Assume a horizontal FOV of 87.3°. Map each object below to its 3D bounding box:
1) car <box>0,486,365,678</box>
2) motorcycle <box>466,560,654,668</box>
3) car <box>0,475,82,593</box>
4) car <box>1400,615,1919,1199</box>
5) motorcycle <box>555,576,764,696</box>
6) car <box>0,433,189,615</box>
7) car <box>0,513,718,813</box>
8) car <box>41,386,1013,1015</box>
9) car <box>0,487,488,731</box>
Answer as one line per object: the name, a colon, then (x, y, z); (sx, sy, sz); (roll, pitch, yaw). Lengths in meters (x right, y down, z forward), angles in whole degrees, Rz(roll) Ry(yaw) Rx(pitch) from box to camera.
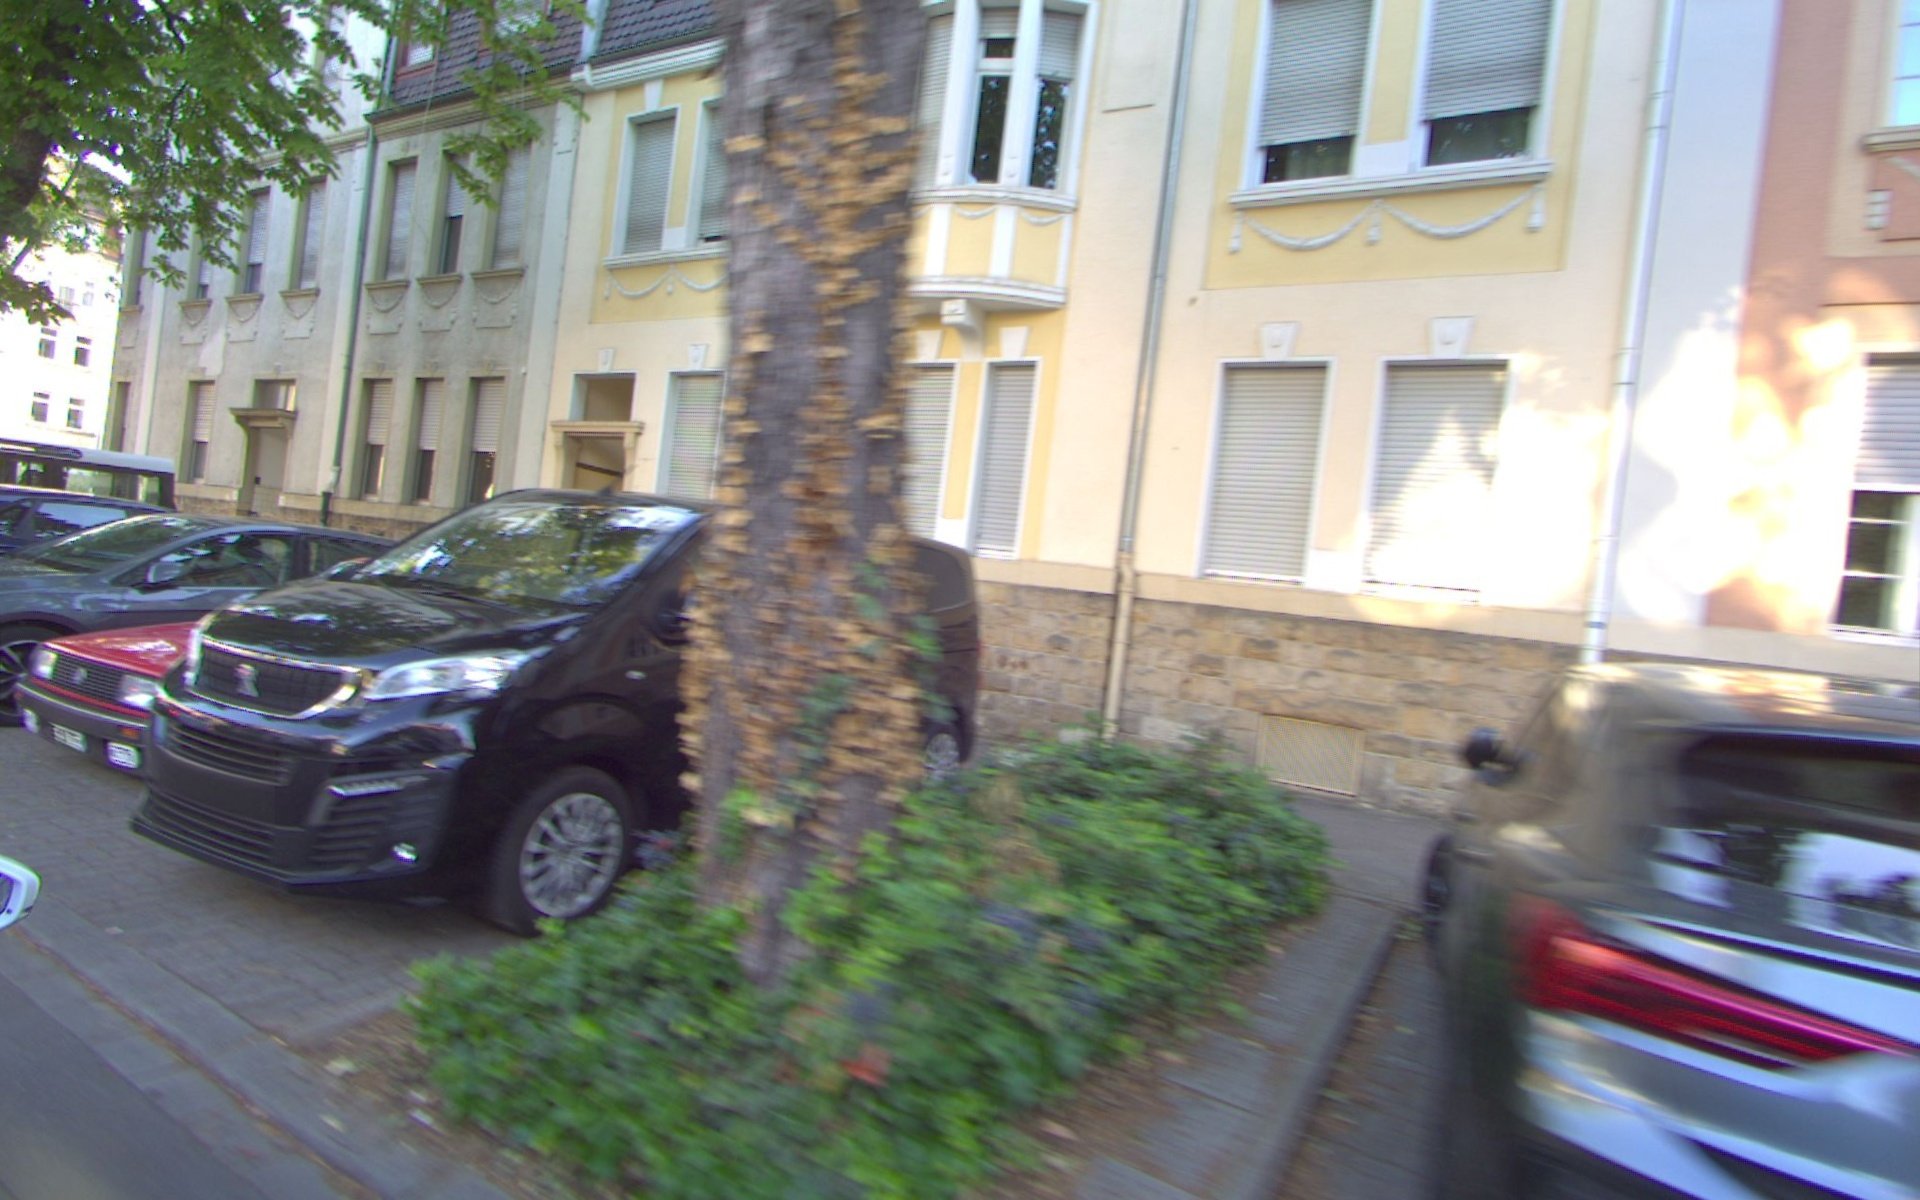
car: (-7.676, -0.167, 8.904); (1.679, 1.470, 3.730); (7, 0, 27)
motorcycle: (-5.422, 0.160, 13.541); (2.821, 1.087, 0.694); (8, 3, 30)
car: (-14.611, -1.085, 13.576); (1.679, 1.589, 3.730); (7, 0, 27)
car: (2.494, 1.010, 3.146); (1.812, 1.542, 4.519); (7, 0, 26)
motorcycle: (-3.662, 0.405, 12.174); (2.439, 1.087, 0.959); (8, 2, 31)
car: (-12.192, -1.034, 11.901); (1.671, 2.061, 4.474); (7, 0, 28)
car: (-3.733, 0.381, 6.986); (1.601, 1.332, 4.145); (7, 0, 26)
car: (-1.589, 0.351, 5.591); (1.864, 1.898, 4.759); (7, 0, 26)
car: (-5.948, 0.045, 7.568); (1.693, 1.470, 4.061); (7, 0, 27)
